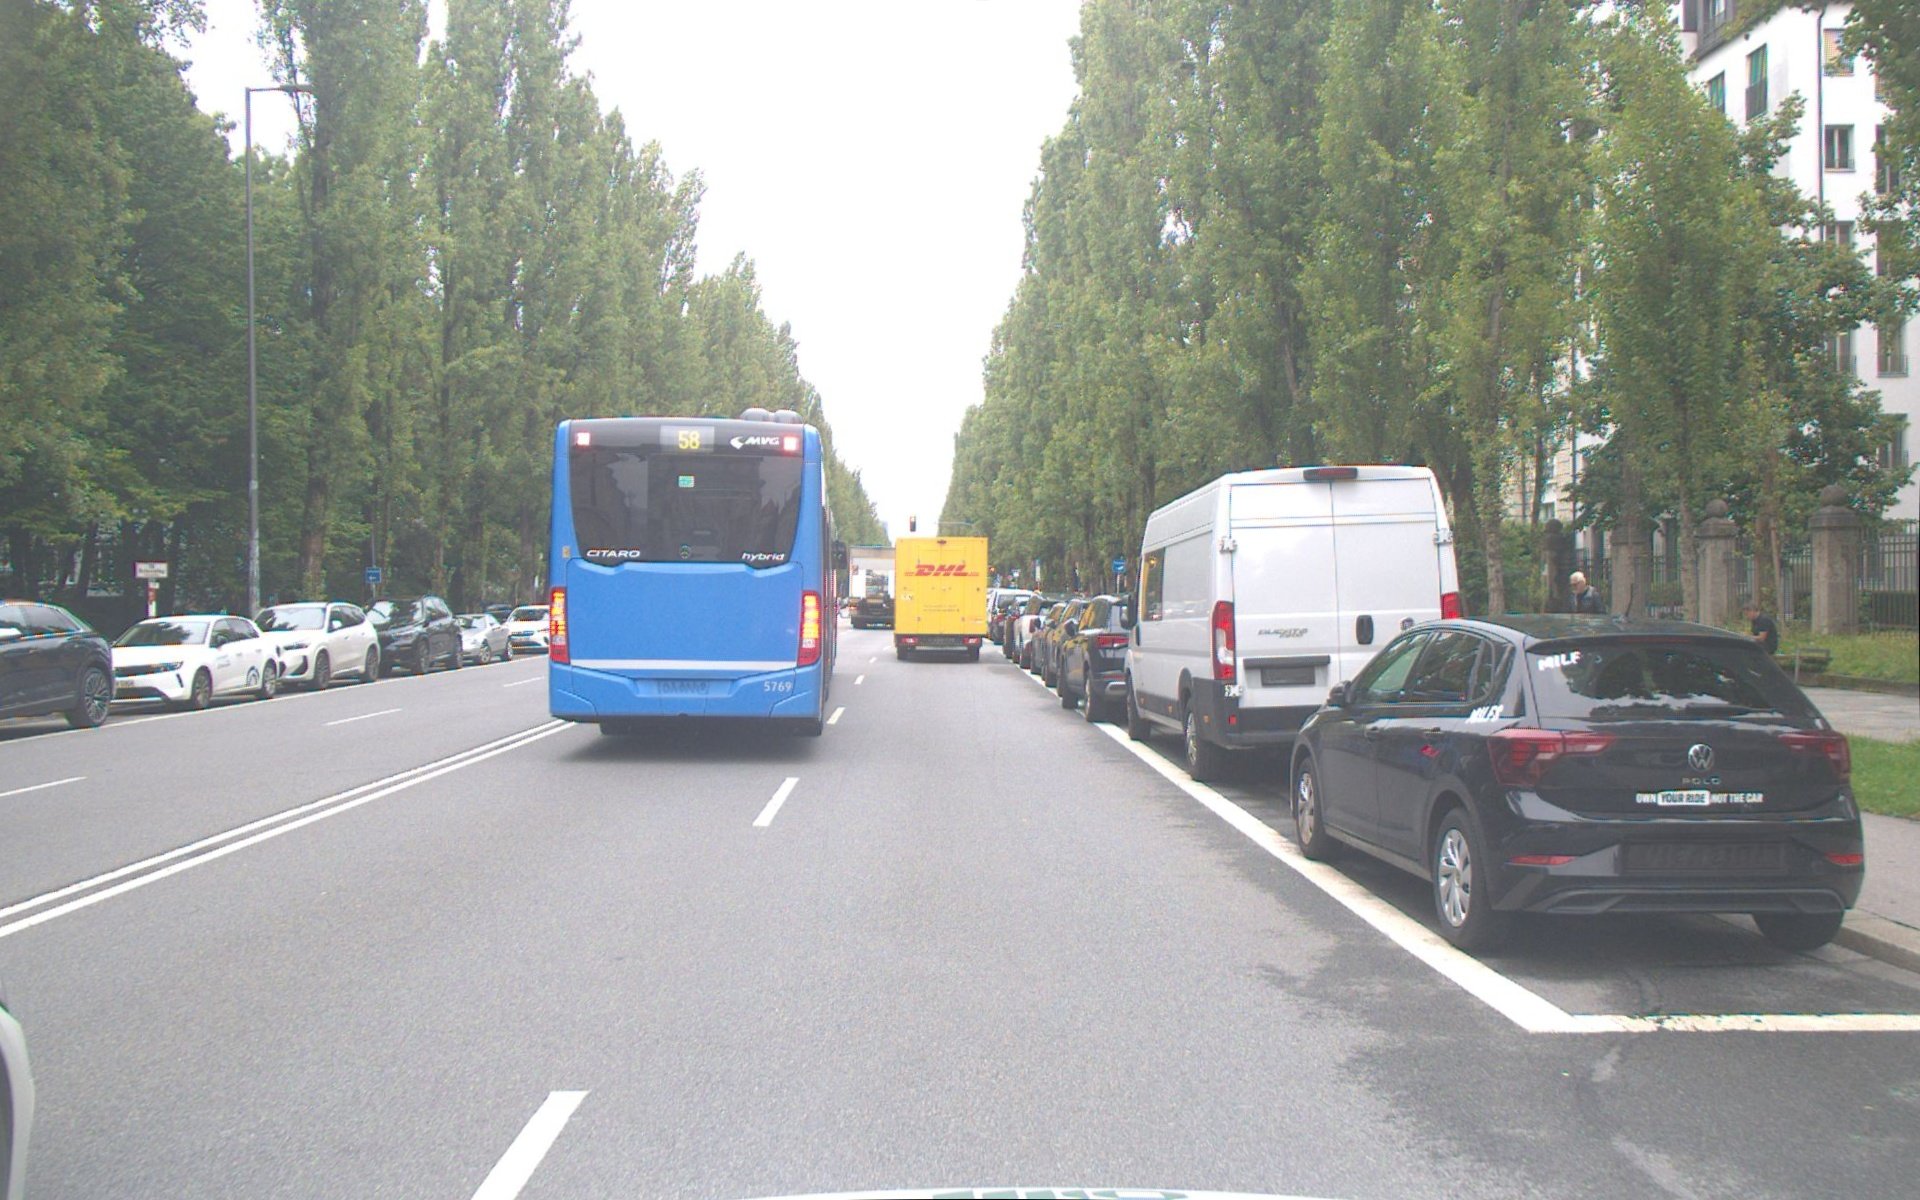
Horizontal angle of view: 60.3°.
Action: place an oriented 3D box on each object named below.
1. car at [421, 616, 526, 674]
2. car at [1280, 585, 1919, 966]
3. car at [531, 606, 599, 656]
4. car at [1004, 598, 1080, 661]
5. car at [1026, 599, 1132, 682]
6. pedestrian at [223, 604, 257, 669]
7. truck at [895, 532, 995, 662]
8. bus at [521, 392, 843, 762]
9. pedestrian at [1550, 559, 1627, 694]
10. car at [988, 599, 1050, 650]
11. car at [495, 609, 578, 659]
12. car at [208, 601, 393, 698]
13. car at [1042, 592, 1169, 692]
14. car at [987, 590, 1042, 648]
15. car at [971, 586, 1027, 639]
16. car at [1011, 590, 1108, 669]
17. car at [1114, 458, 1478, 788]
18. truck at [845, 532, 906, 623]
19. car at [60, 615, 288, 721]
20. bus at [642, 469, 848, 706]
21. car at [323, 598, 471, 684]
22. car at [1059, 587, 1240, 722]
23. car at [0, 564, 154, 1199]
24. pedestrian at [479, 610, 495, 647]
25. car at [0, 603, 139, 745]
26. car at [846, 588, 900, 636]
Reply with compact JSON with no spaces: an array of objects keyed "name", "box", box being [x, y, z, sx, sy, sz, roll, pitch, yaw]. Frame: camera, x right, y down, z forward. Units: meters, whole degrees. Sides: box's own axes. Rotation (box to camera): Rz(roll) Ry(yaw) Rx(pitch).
[{"name":"car","box":[-12.668,1.141,43.282,1.548,1.327,4.028,-2,0,-1]},{"name":"car","box":[2.979,0.697,8.587,1.719,1.475,3.998,2,0,-2]},{"name":"car","box":[-13.392,1.024,56.276,1.710,1.545,4.112,-2,0,-7]},{"name":"car","box":[2.053,0.725,42.599,1.690,1.521,4.323,0,0,-1]},{"name":"car","box":[2.266,0.747,32.356,1.600,1.471,4.147,2,0,-2]},{"name":"pedestrian","box":[-20.702,1.053,47.577,0.627,1.847,0.775,-1,0,-2]},{"name":"truck","box":[-0.464,-0.067,41.468,2.281,2.949,7.330,0,0,-2]},{"name":"bus","box":[-2.782,-0.216,19.251,2.799,3.270,9.052,0,0,-4]},{"name":"pedestrian","box":[8.872,0.363,23.360,0.645,1.871,0.779,-1,0,-25]},{"name":"car","box":[1.883,0.753,53.716,1.825,1.579,3.999,0,0,-1]},{"name":"car","box":[-13.186,1.035,51.714,1.651,1.437,4.002,-2,0,-2]},{"name":"car","box":[-12.542,0.878,31.766,1.749,1.616,4.460,-3,0,-1]},{"name":"car","box":[2.341,0.644,27.562,1.618,1.530,4.112,0,0,-2]},{"name":"car","box":[1.924,0.659,59.233,1.769,2.011,4.235,0,0,-1]},{"name":"car","box":[1.550,0.469,67.547,2.011,2.049,5.691,-1,0,-1]},{"name":"car","box":[2.158,0.624,36.883,1.745,1.609,4.145,1,0,-2]},{"name":"car","box":[2.874,0.175,15.835,2.032,2.522,6.281,0,0,-2]},{"name":"truck","box":[-4.073,-1.013,78.782,2.662,4.034,9.211,-1,0,-3]},{"name":"car","box":[-12.327,1.011,26.238,1.642,1.447,4.236,-2,0,-2]},{"name":"bus","box":[-3.395,-0.190,28.501,2.815,3.362,9.782,0,0,-3]},{"name":"car","box":[-12.621,0.864,37.379,1.843,1.687,4.715,-3,0,-3]},{"name":"car","box":[2.406,0.654,21.989,1.784,1.618,4.221,0,0,-2]},{"name":"car","box":[-2.682,0.663,1.437,1.789,1.480,4.581,0,0,-1]},{"name":"pedestrian","box":[-23.094,1.376,80.734,0.587,1.769,0.640,-1,0,-2]},{"name":"car","box":[-12.035,0.908,19.969,1.779,1.637,5.051,-3,0,-2]},{"name":"car","box":[-3.449,0.448,66.385,1.994,1.833,4.506,-1,0,-1]}]
